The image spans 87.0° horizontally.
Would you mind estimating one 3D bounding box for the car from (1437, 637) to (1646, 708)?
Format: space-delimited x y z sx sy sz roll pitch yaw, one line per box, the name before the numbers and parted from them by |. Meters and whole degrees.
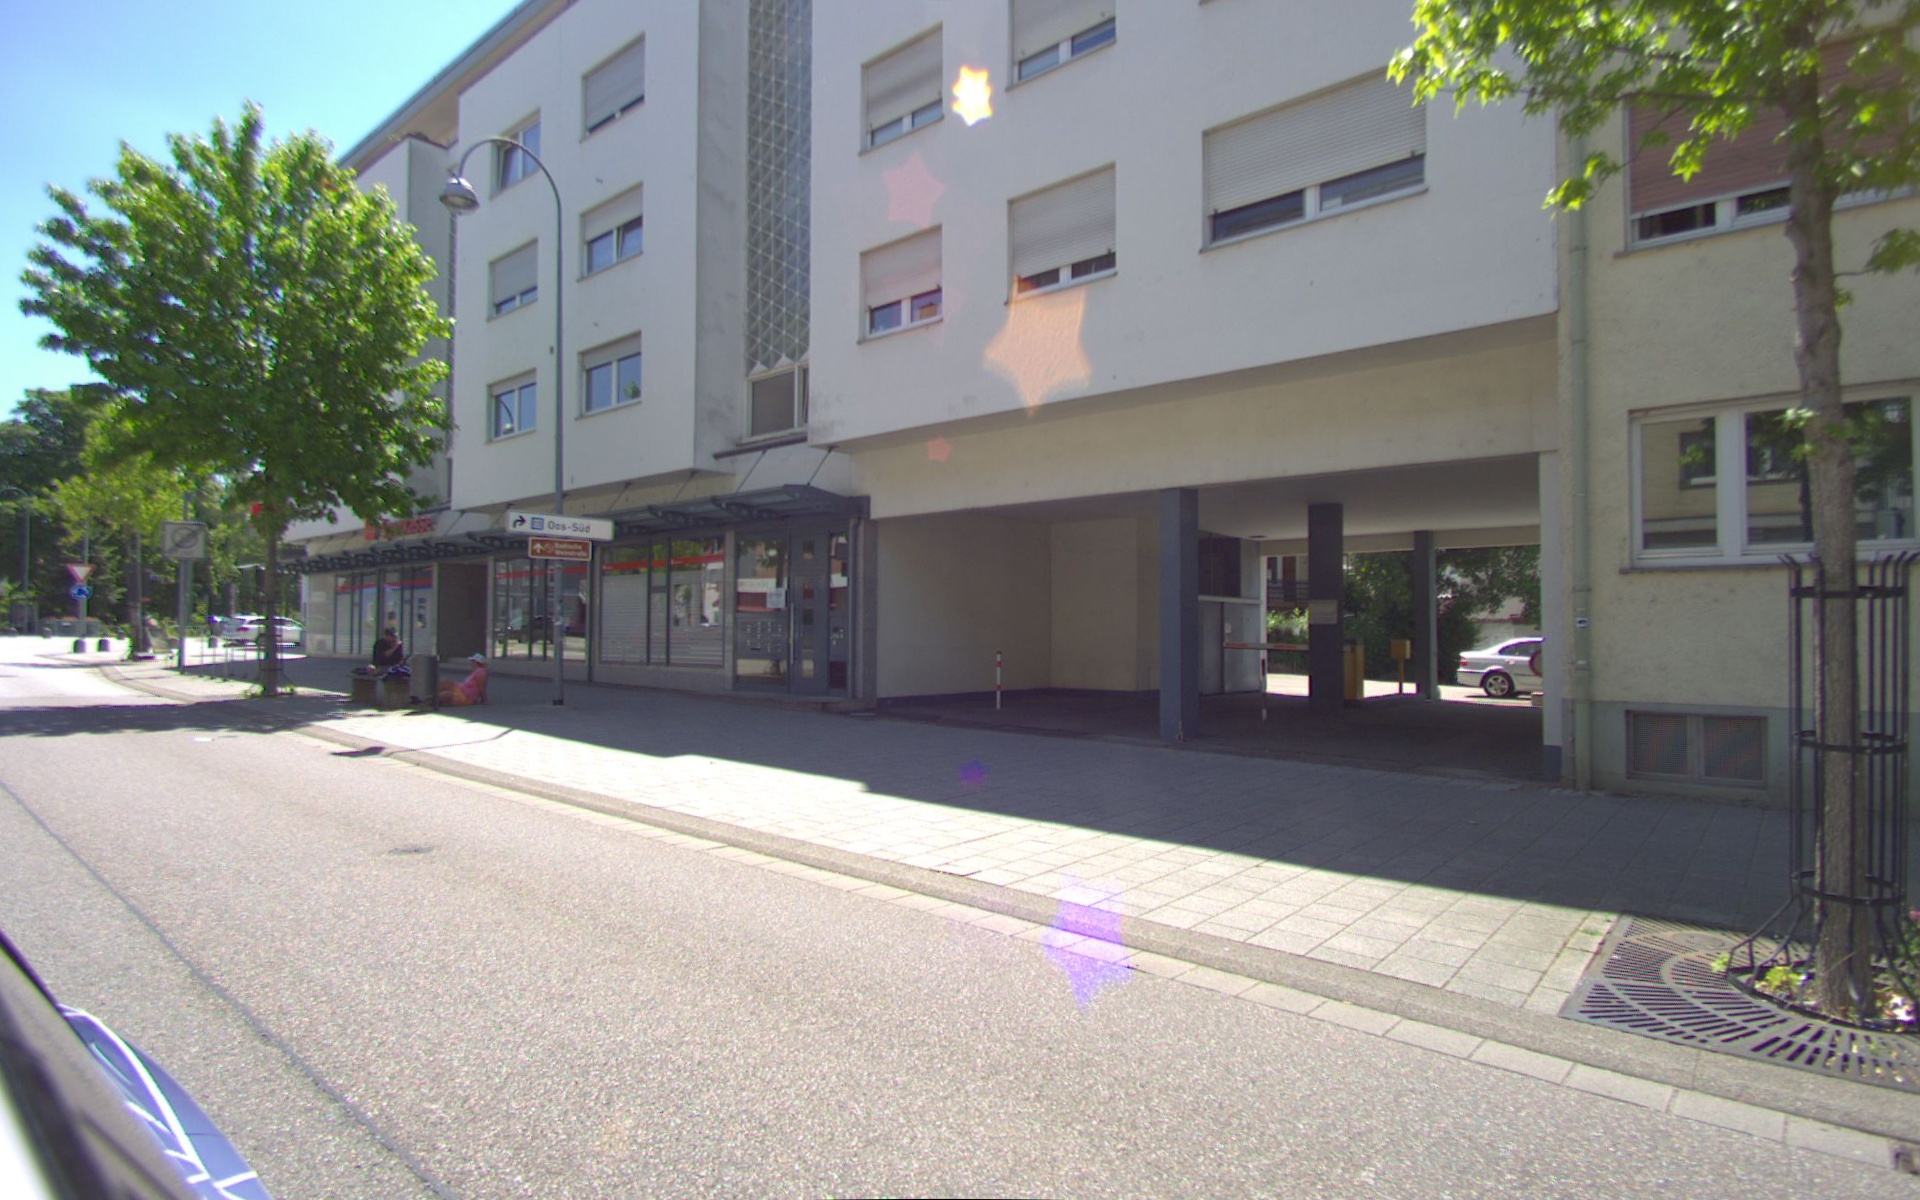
car | 13.428 1.636 23.483 3.912 1.510 1.809 -2 -4 42
